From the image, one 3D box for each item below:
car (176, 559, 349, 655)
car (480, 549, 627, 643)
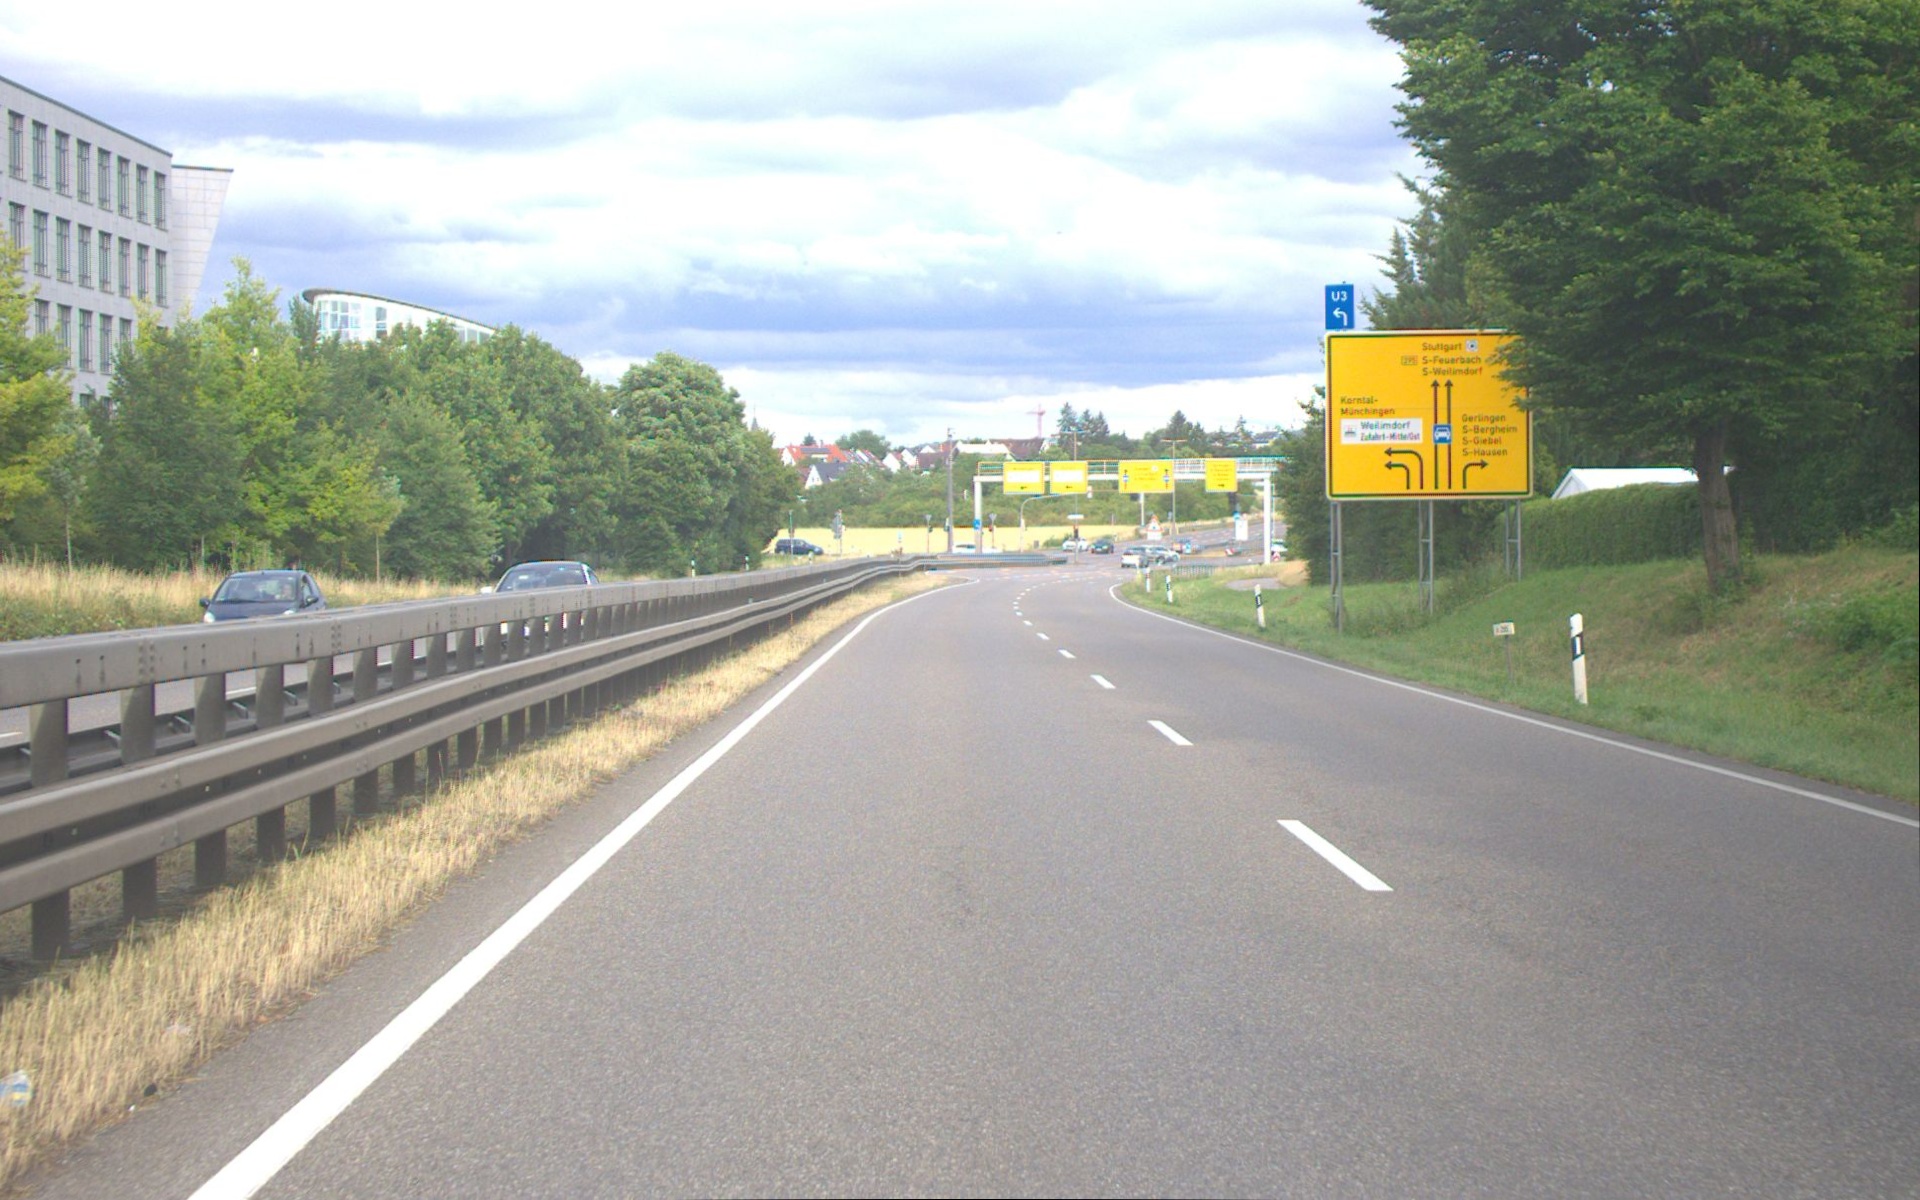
[{"bbox_3d":[-10.905,0.079,54.060,1.756,1.417,4.566,0,1,0],"label":"car"},{"bbox_3d":[-6.374,-0.096,54.339,1.835,1.374,4.567,-1,1,-1],"label":"car"}]
